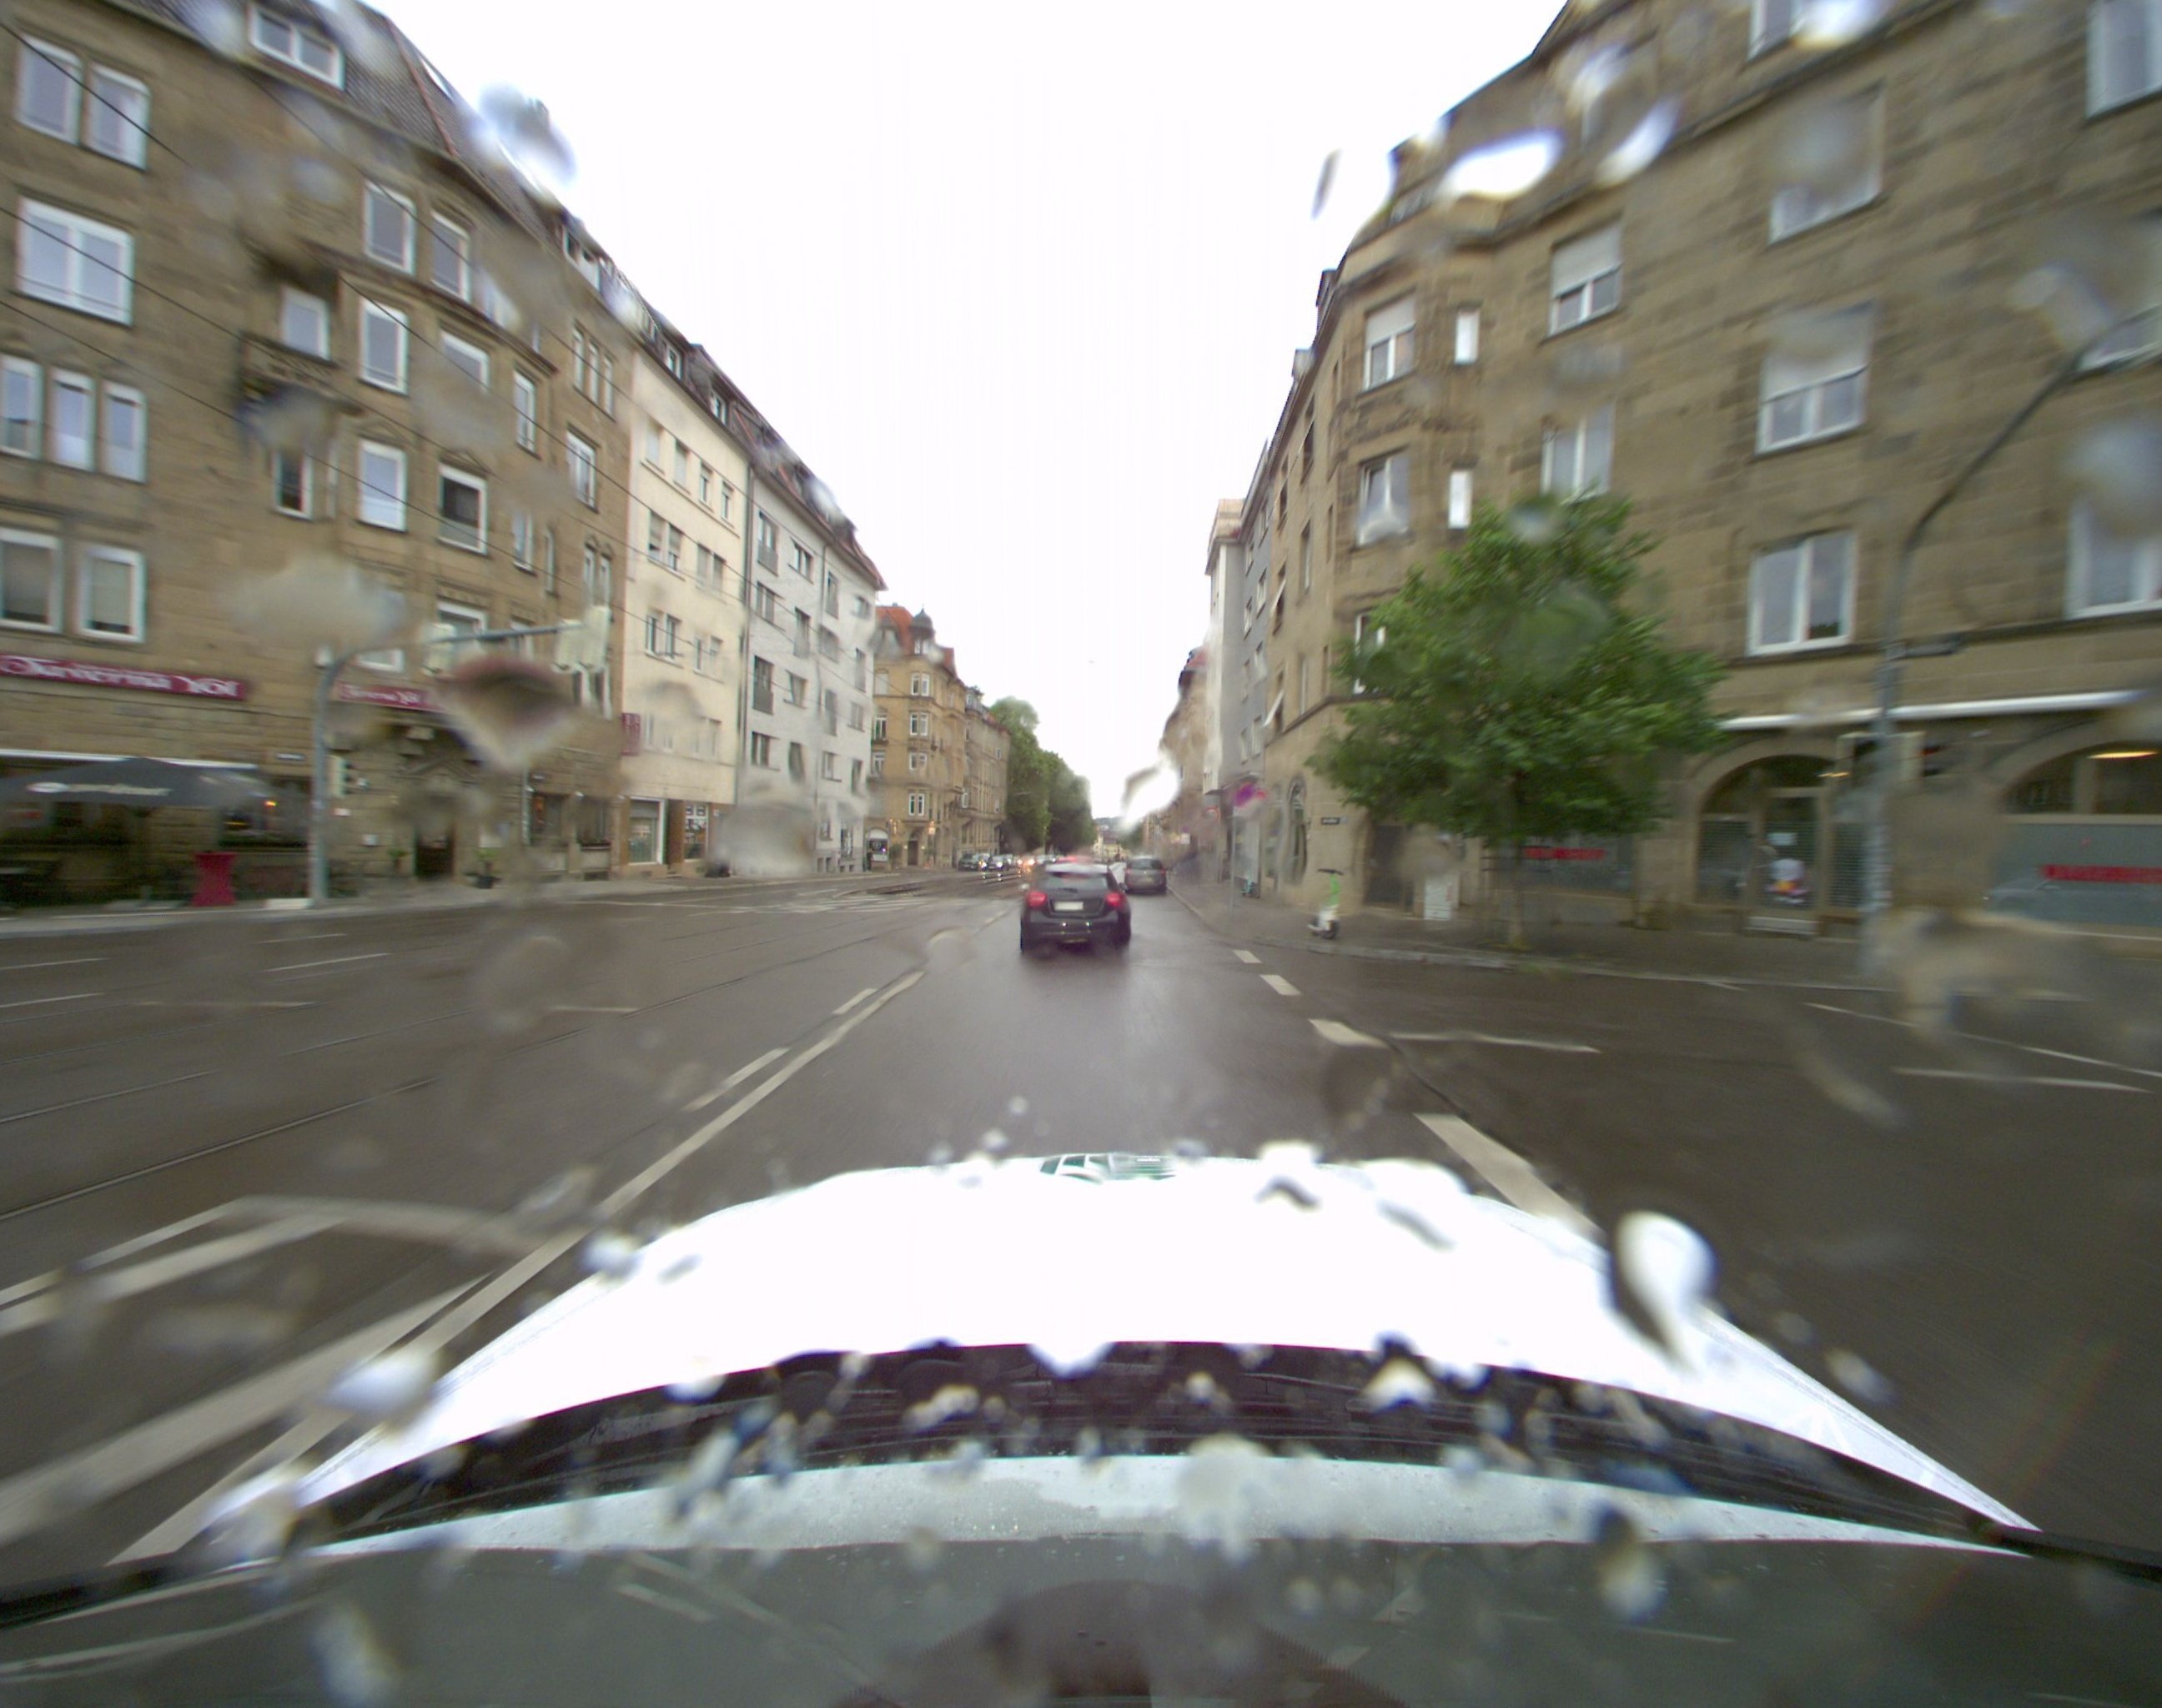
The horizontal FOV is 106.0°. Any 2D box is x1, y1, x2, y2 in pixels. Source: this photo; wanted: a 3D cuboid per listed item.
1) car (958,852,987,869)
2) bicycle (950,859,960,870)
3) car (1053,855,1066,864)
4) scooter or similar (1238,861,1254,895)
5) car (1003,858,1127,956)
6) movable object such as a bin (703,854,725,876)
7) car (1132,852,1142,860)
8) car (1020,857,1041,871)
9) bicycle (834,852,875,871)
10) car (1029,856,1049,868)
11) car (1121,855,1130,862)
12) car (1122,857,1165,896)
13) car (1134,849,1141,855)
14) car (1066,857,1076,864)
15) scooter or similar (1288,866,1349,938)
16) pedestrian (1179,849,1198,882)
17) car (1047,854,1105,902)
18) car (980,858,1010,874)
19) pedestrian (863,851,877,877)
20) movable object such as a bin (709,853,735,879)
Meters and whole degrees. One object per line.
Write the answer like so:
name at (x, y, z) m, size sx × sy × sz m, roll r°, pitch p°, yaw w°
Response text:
car at (-9.833, 0.590, 73.926) m, size 1.714 × 1.541 × 3.939 m, roll 0°, pitch 0°, yaw 5°
bicycle at (-11.659, 0.924, 75.159) m, size 0.596 × 1.000 × 2.079 m, roll 0°, pitch 0°, yaw -1°
car at (-3.439, 0.821, 128.870) m, size 1.687 × 1.388 × 3.486 m, roll 0°, pitch 0°, yaw 5°
scooter or similar at (6.107, 0.875, 30.195) m, size 0.393 × 1.216 × 1.107 m, roll 1°, pitch 0°, yaw 2°
car at (-0.138, 0.818, 14.403) m, size 1.858 × 1.452 × 4.004 m, roll 0°, pitch 0°, yaw 3°
movable object such as a bin at (-15.704, 0.470, 34.846) m, size 0.591 × 0.911 × 0.560 m, roll 5°, pitch 0°, yaw 3°
car at (8.904, 0.340, 129.875) m, size 1.606 × 1.317 × 4.004 m, roll 0°, pitch 0°, yaw 4°
car at (-5.525, 1.112, 89.164) m, size 1.672 × 1.497 × 3.525 m, roll 0°, pitch 0°, yaw 6°
bicycle at (-18.995, 0.608, 68.365) m, size 3.144 × 1.584 × 1.593 m, roll 0°, pitch 0°, yaw -8°
car at (-5.175, 0.973, 101.235) m, size 1.798 × 1.360 × 4.769 m, roll 0°, pitch 0°, yaw 4°
car at (8.642, 0.830, 157.112) m, size 1.606 × 1.317 × 4.004 m, roll 0°, pitch 0°, yaw 4°
car at (2.679, 0.903, 35.266) m, size 1.758 × 1.559 × 4.750 m, roll 0°, pitch 0°, yaw 4°
car at (12.900, -0.460, 186.797) m, size 1.606 × 1.317 × 4.004 m, roll 2°, pitch 0°, yaw 4°
car at (-1.851, 1.285, 157.649) m, size 1.561 × 1.413 × 3.486 m, roll 0°, pitch 0°, yaw 5°
scooter or similar at (4.255, 0.827, 14.705) m, size 0.636 × 1.210 × 1.552 m, roll 0°, pitch 0°, yaw -1°
pedestrian at (5.835, 0.621, 44.260) m, size 0.941 × 1.769 × 1.015 m, roll 1°, pitch 0°, yaw 1°
car at (-0.104, 0.746, 27.252) m, size 1.642 × 1.452 × 4.003 m, roll 2°, pitch 0°, yaw 3°
car at (-7.444, 1.014, 70.868) m, size 1.939 × 1.397 × 4.278 m, roll 0°, pitch 0°, yaw 4°
pedestrian at (-14.641, 0.699, 56.563) m, size 0.638 × 1.787 × 0.924 m, roll 0°, pitch -2°, yaw 3°
movable object such as a bin at (-15.632, 0.507, 35.491) m, size 0.710 × 1.074 × 0.688 m, roll 5°, pitch 0°, yaw 3°
